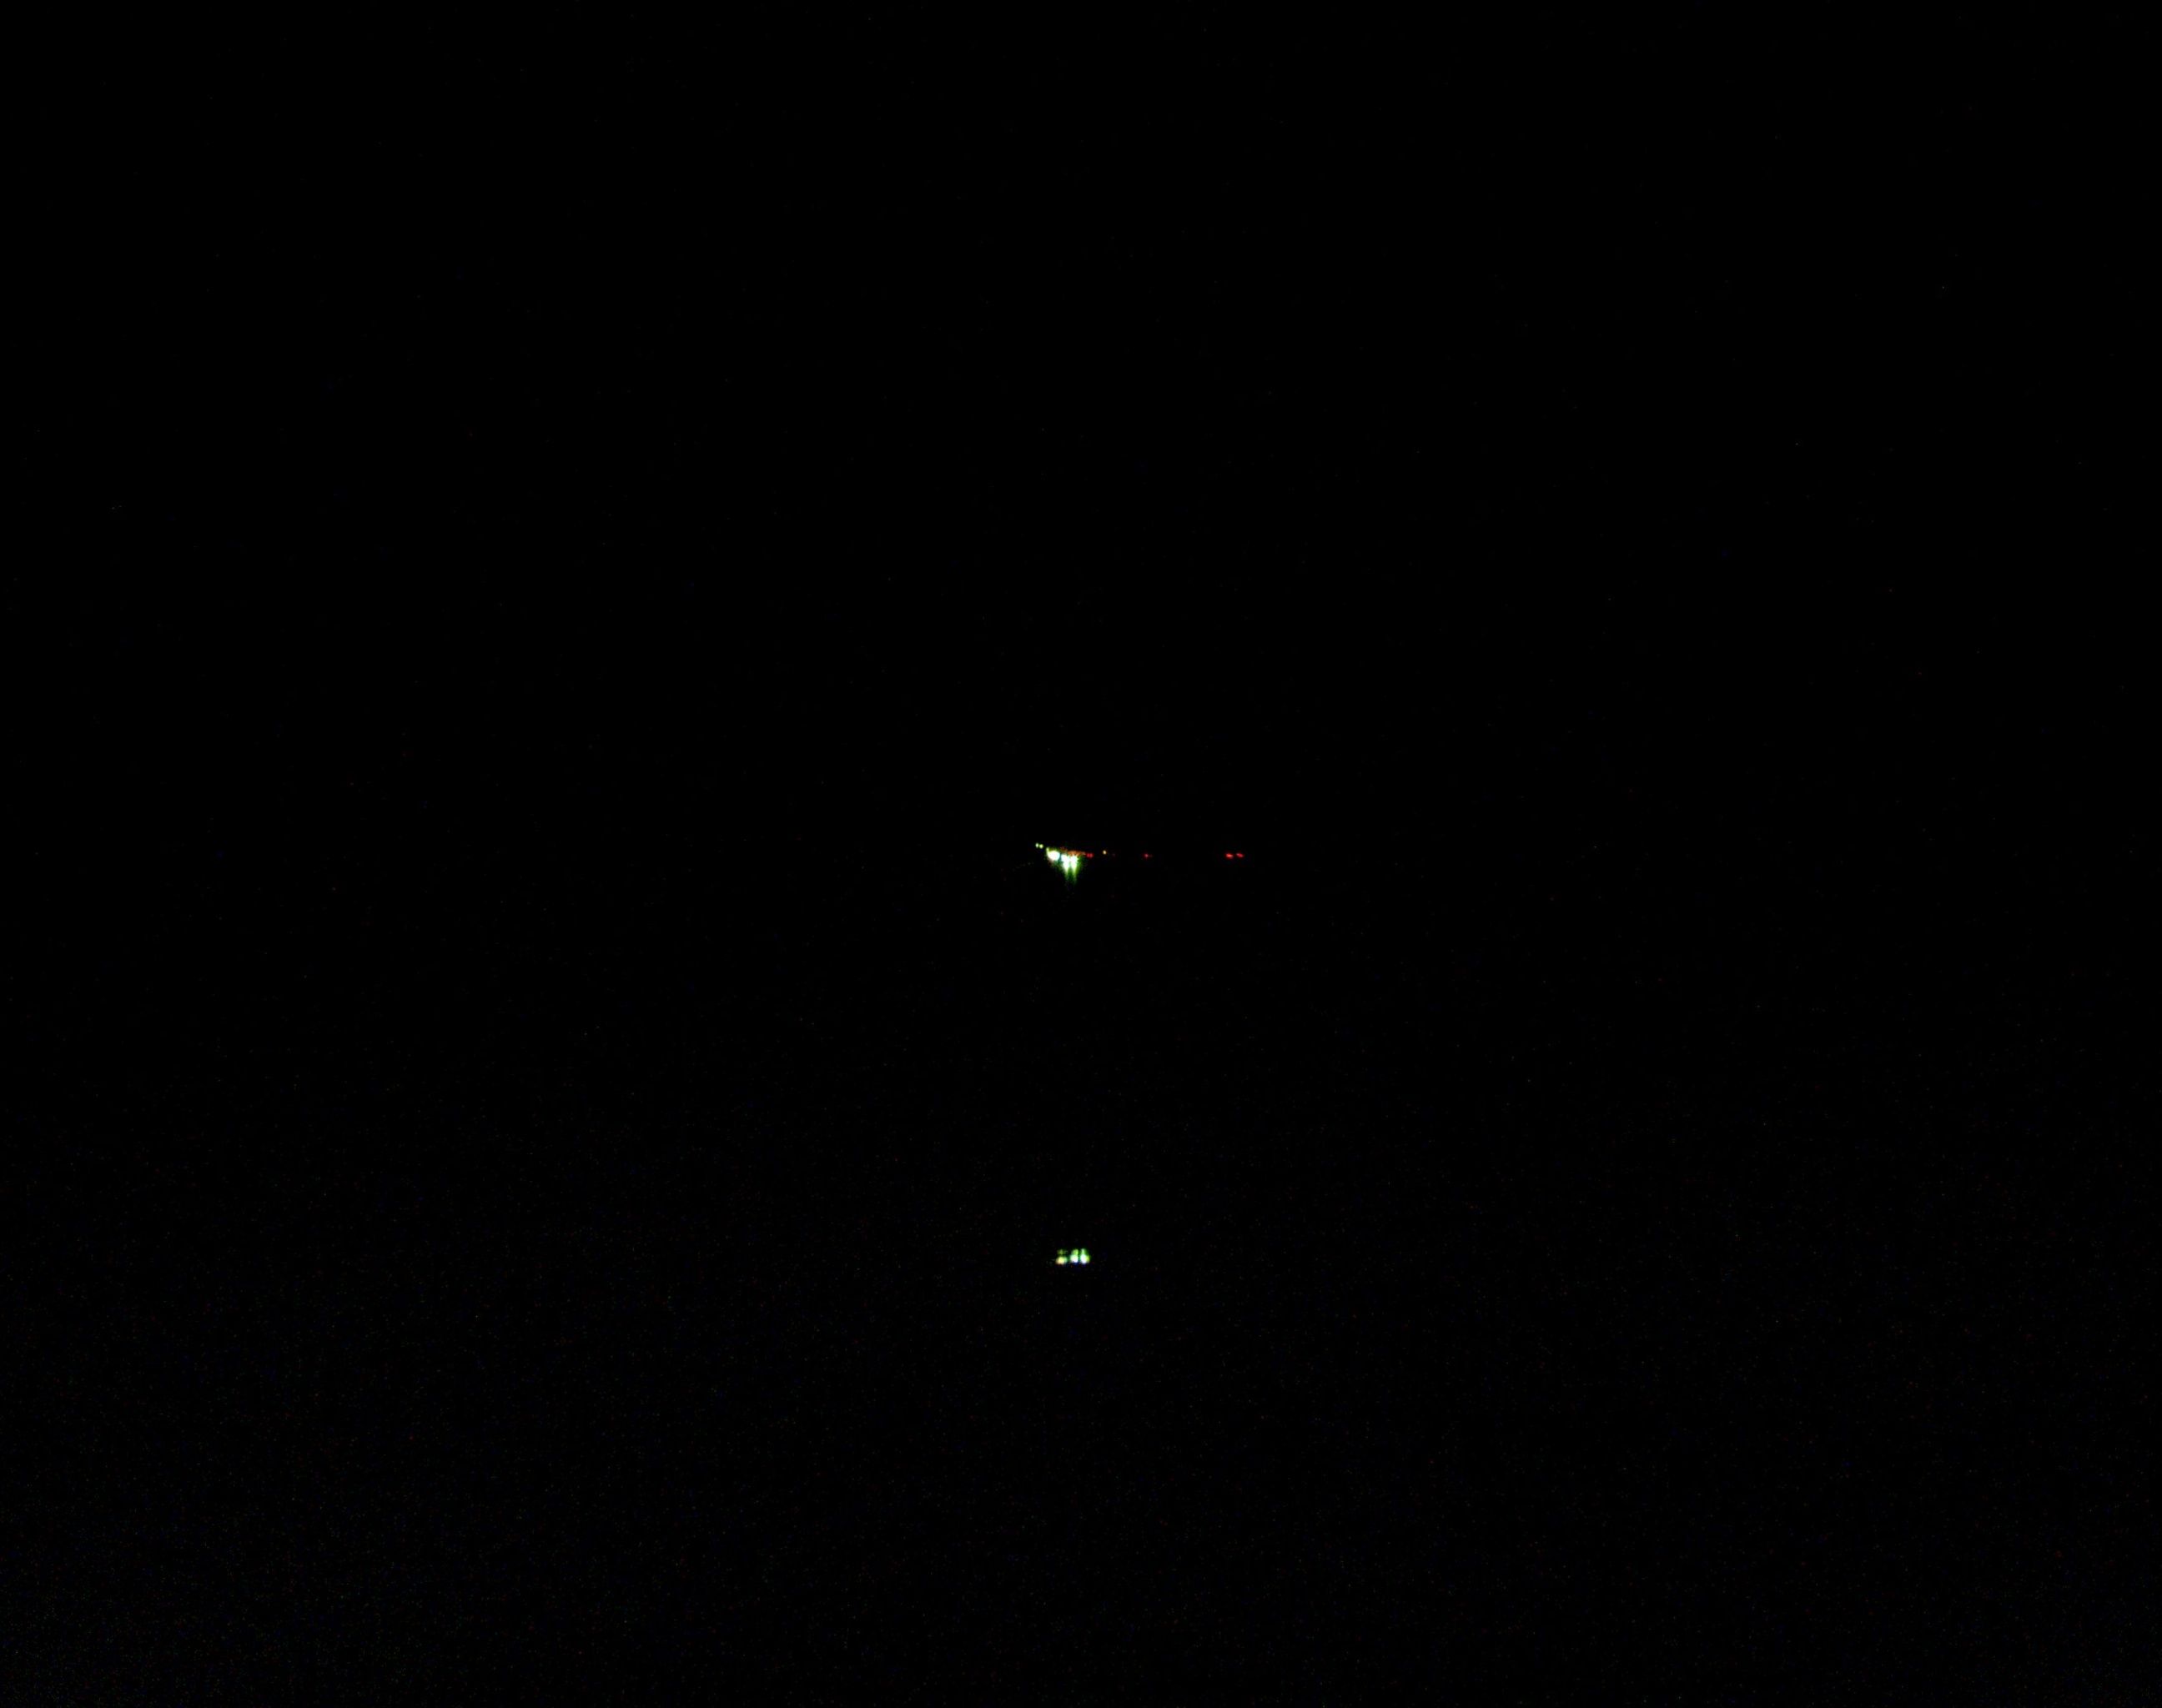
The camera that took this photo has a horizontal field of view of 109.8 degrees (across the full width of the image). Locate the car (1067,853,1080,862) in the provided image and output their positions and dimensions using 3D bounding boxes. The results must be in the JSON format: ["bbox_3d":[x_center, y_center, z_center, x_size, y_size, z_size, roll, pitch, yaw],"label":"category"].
[{"bbox_3d":[-1.391,0.589,134.550,2.154,1.558,4.580,-2,1,-2],"label":"car"}]

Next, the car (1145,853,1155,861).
[{"bbox_3d":[15.898,0.689,175.354,1.999,1.593,4.212,-2,1,-1],"label":"car"}]

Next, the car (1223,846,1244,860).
[{"bbox_3d":[22.178,-0.158,110.752,2.031,2.002,5.186,-2,1,-1],"label":"car"}]
